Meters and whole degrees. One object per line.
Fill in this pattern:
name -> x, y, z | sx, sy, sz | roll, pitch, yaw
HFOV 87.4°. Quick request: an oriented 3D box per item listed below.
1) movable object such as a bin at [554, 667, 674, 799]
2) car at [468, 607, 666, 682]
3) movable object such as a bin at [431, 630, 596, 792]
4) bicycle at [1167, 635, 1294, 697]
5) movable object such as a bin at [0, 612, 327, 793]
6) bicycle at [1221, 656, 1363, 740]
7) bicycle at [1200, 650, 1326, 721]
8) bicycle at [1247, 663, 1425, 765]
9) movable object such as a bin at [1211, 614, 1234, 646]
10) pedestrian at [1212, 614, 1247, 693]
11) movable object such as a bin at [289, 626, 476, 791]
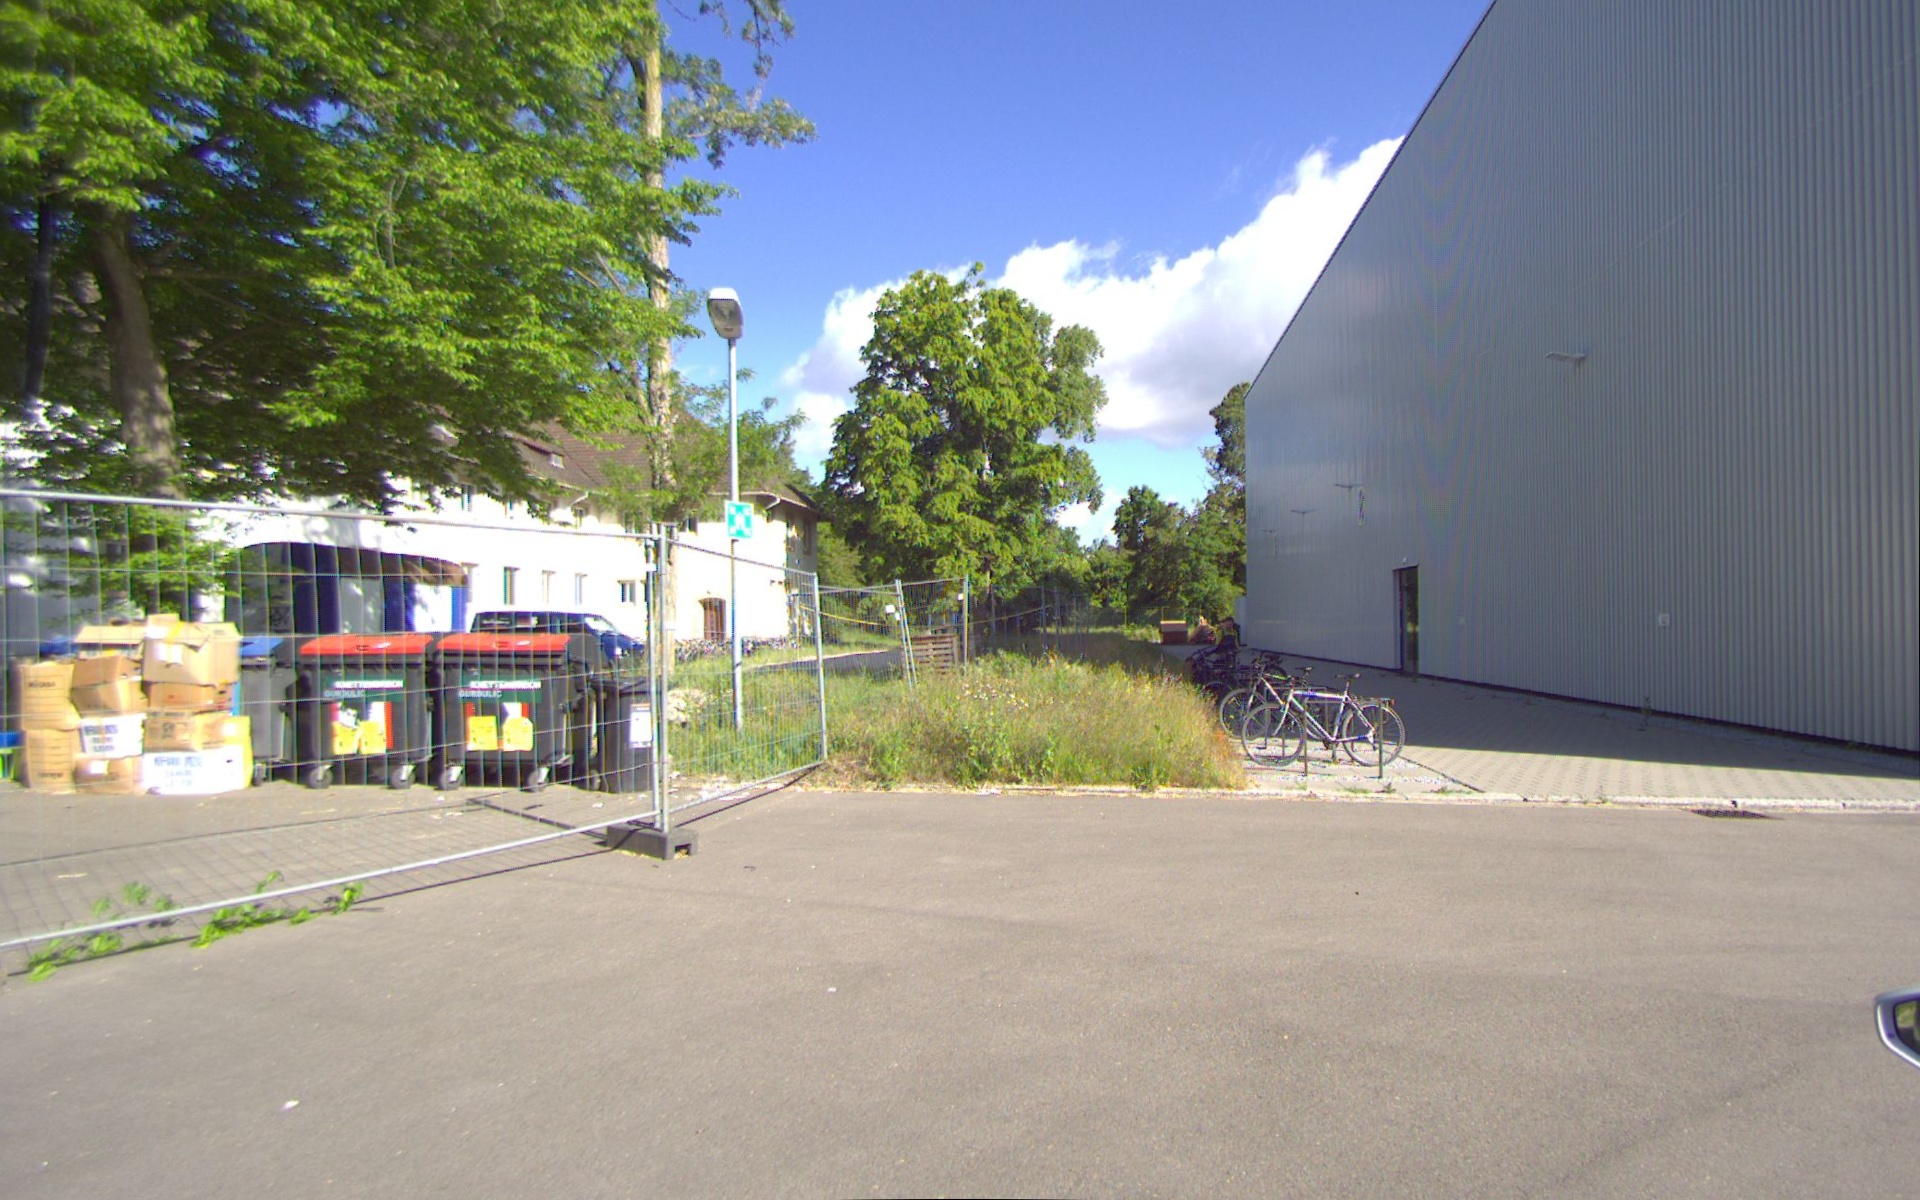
movable object such as a bin -> -3.140, 1.182, 9.175 | 0.723, 1.112, 0.820 | -1, -1, 12
car -> -10.657, 1.203, 27.452 | 4.630, 1.927, 2.001 | 0, -1, 4
movable object such as a bin -> -4.179, 1.020, 9.462 | 1.224, 1.463, 0.703 | 0, -1, 2
bicycle -> 5.800, 1.414, 21.717 | 2.585, 1.283, 1.141 | -1, -1, 12
movable object such as a bin -> -7.544, 0.937, 9.599 | 2.250, 1.612, 1.175 | 0, -1, 2
bicycle -> 4.480, 1.314, 13.629 | 1.761, 1.097, 0.525 | -1, -1, 10
bicycle -> 4.854, 1.370, 16.155 | 1.855, 1.109, 0.526 | -1, -2, 7
bicycle -> 4.128, 1.246, 11.089 | 1.769, 1.076, 0.459 | -1, -1, 3
movable object such as a bin -> 17.377, 1.986, 66.623 | 1.394, 2.040, 1.126 | -1, -1, 12
pedestrian -> 6.090, 1.201, 22.696 | 0.505, 1.751, 0.632 | -1, -2, 42
movable object such as a bin -> -5.487, 1.006, 9.608 | 1.315, 1.504, 0.807 | 0, -1, 2
